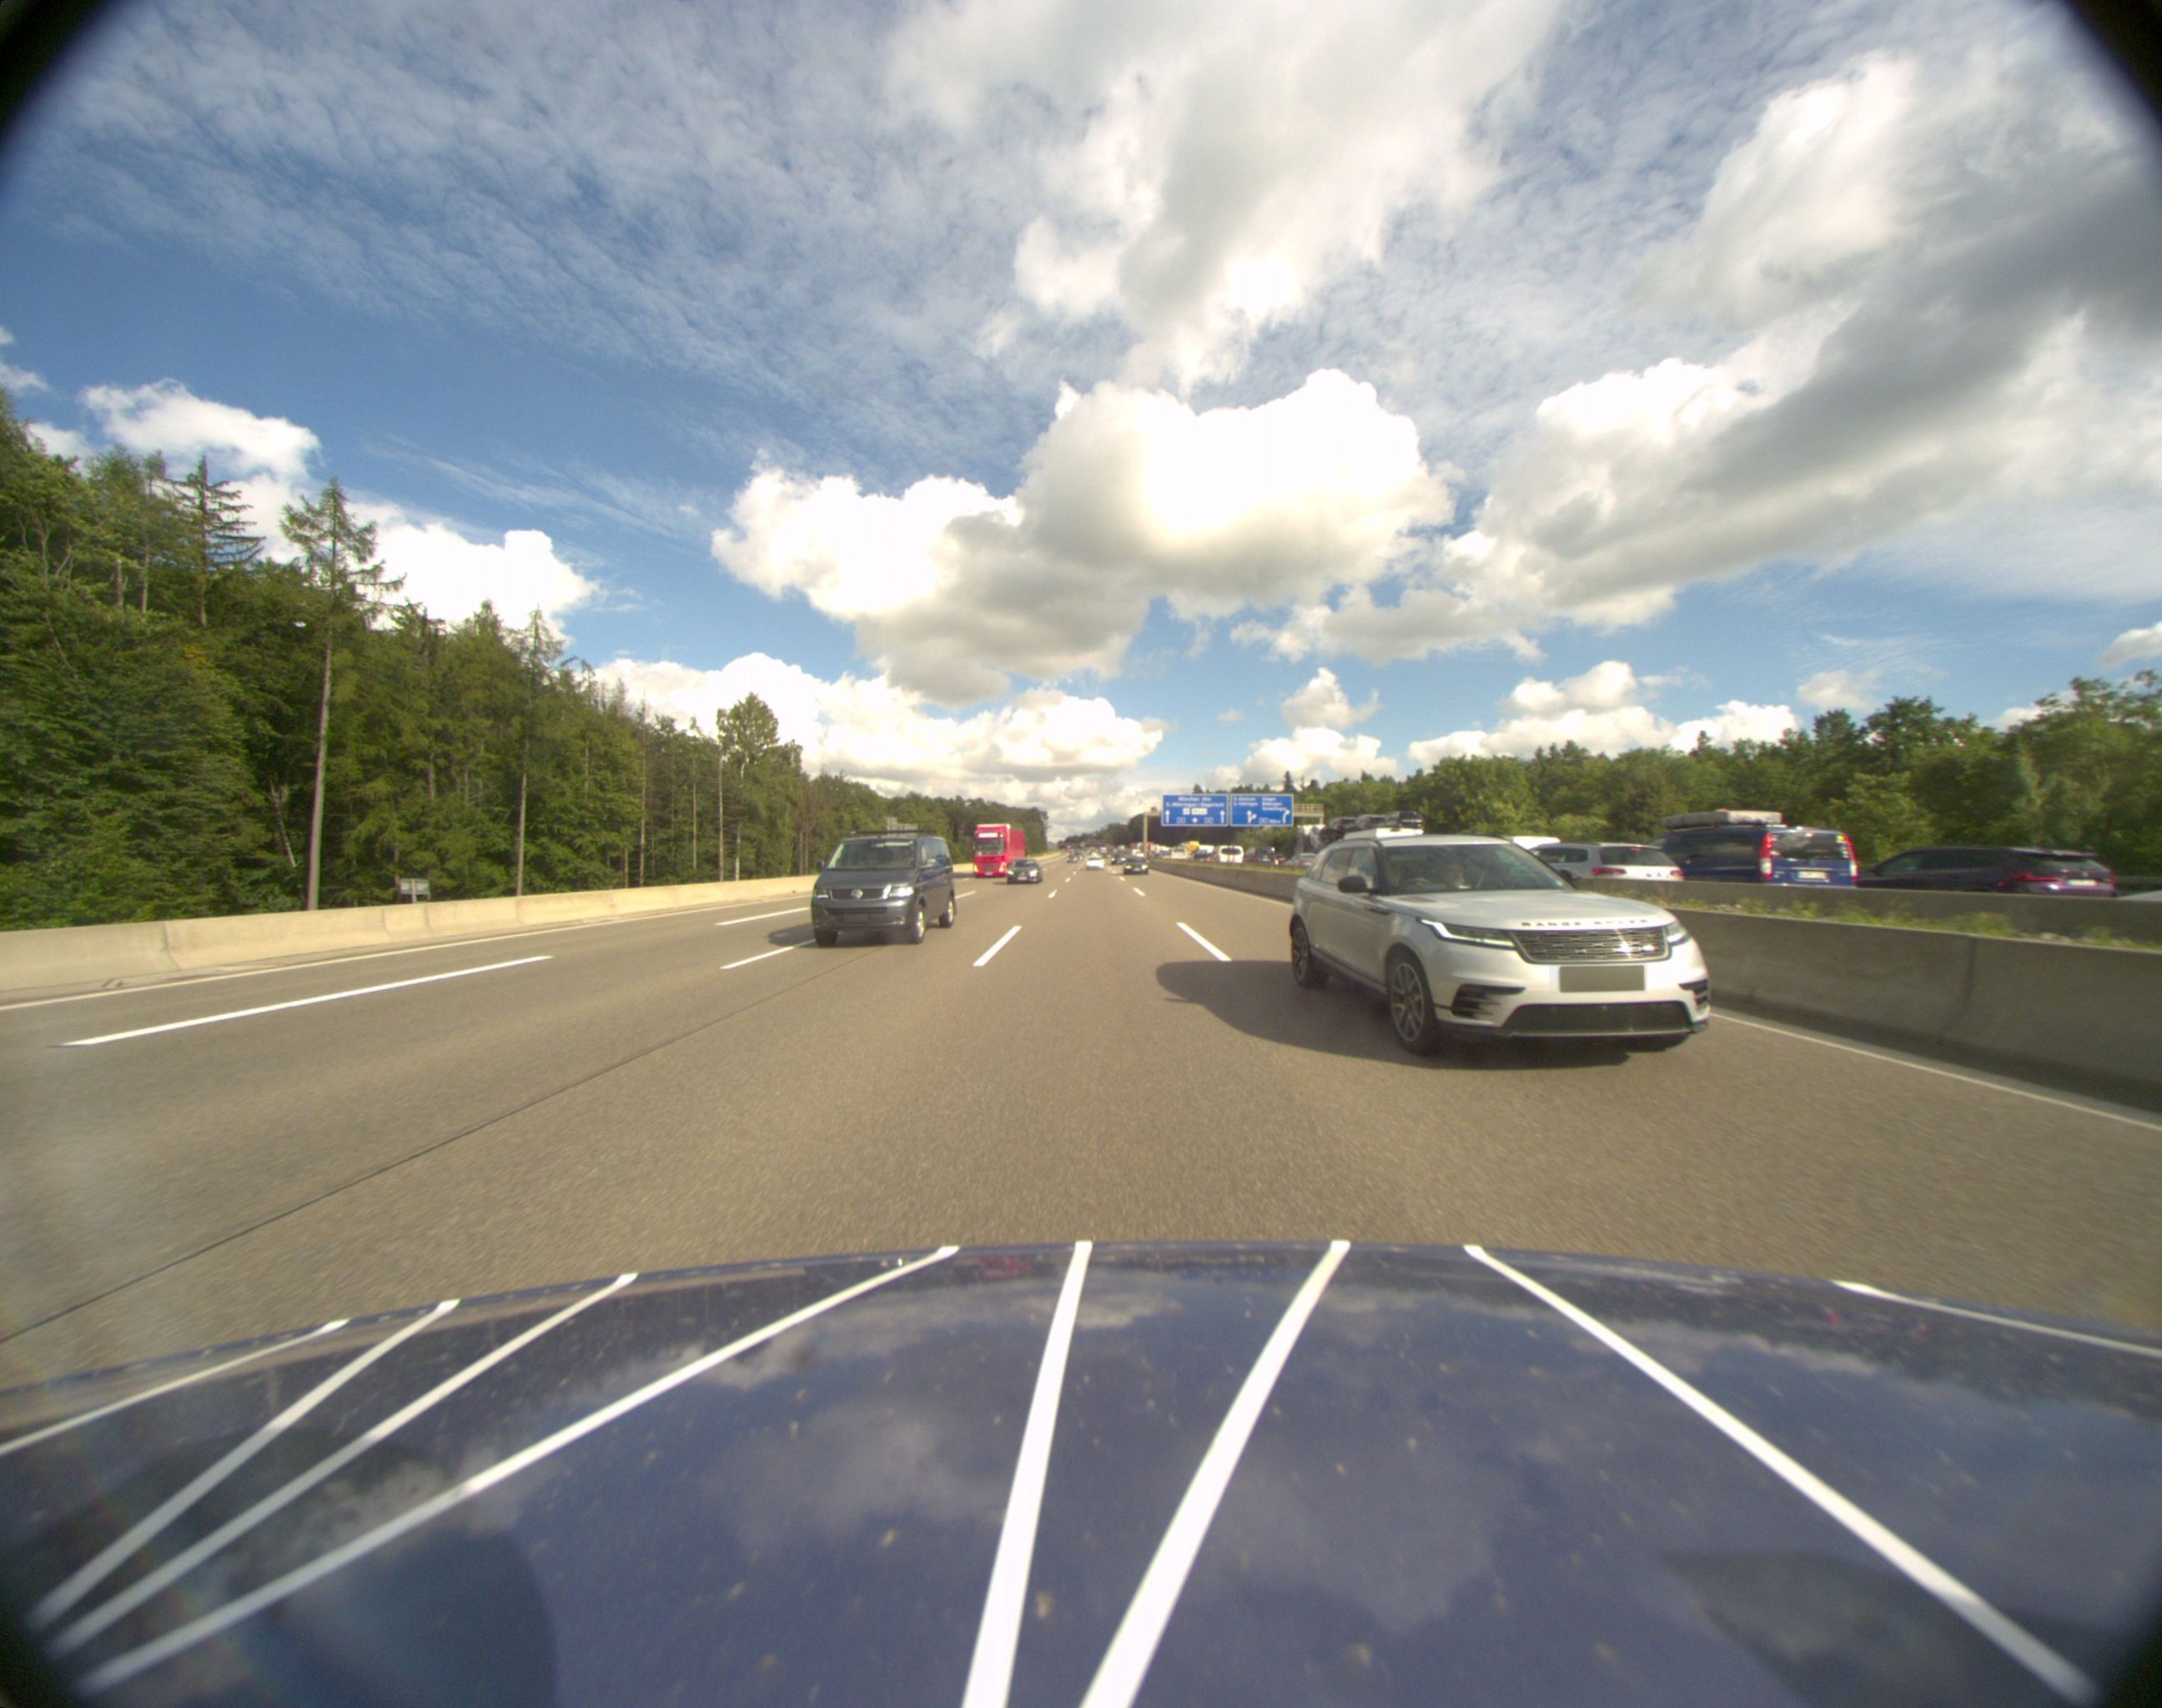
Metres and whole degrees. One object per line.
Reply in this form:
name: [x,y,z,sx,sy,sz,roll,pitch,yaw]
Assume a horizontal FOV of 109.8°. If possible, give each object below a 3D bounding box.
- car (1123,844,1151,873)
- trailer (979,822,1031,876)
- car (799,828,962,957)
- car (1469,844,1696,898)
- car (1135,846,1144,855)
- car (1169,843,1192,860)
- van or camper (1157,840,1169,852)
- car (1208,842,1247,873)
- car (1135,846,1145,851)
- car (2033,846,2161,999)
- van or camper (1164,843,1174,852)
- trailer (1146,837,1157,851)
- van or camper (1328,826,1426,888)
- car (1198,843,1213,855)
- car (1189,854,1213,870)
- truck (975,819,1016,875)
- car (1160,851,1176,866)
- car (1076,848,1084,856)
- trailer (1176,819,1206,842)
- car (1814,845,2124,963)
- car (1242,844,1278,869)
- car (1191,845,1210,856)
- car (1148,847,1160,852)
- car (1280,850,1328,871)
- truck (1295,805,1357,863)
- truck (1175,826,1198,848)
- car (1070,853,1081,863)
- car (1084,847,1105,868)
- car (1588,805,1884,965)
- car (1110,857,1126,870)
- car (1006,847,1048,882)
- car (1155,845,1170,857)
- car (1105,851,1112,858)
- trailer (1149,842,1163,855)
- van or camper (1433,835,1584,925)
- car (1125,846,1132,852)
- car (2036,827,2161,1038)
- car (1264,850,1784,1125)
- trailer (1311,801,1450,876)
car: [4.285,0.353,58.425,1.919,2.001,4.001,-3,-1,2]
trailer: [-6.396,-0.503,66.320,2.531,4.096,14.376,-1,1,2]
car: [-3.767,0.644,15.293,1.927,2.153,4.960,-1,0,0]
car: [9.946,0.286,15.584,1.639,0.853,4.605,-3,0,1]
car: [13.399,-0.907,174.509,1.836,2.050,5.500,0,1,1]
car: [11.491,-0.247,87.916,2.091,1.791,4.179,-3,0,1]
van or camper: [21.909,-2.211,203.150,2.476,2.873,7.479,-2,2,1]
car: [10.784,0.226,56.366,1.998,2.088,5.277,-2,1,2]
car: [12.444,-1.211,160.110,1.647,0.934,4.488,-2,1,1]
car: [14.019,0.866,8.365,1.691,1.805,4.294,-2,1,0]
van or camper: [21.242,-1.582,183.691,2.288,2.000,4.690,-2,1,8]
trailer: [22.804,-3.402,246.681,2.645,4.295,13.174,-2,1,1]
van or camper: [14.424,0.063,37.567,2.397,2.695,6.630,-2,1,2]
car: [19.863,-0.817,121.420,1.804,1.865,3.950,-1,1,1]
car: [10.931,0.714,69.491,1.699,1.364,4.000,-1,0,2]
truck: [-6.599,-0.560,59.153,2.532,4.178,4.652,-1,1,1]
car: [11.852,0.567,103.935,1.804,1.865,3.950,-2,1,1]
car: [-0.289,-0.483,180.840,1.804,1.865,3.950,-1,1,1]
trailer: [19.619,-4.150,136.409,3.420,3.806,13.259,-2,1,1]
car: [17.678,0.873,15.482,1.647,2.002,3.999,-2,2,0]
car: [14.521,0.166,61.906,1.916,1.865,4.697,-1,1,1]
car: [16.212,-0.530,103.311,1.792,1.441,5.375,-2,1,1]
car: [12.847,-0.789,133.993,1.671,0.922,5.463,-2,1,1]
car: [14.729,0.426,50.368,1.836,1.223,4.566,-2,1,1]
truck: [18.877,-1.483,58.963,2.860,4.210,5.712,-2,1,1]
truck: [19.829,-3.148,143.675,3.425,3.877,6.802,-2,0,1]
car: [-0.995,0.739,137.963,1.911,1.582,4.286,-2,1,-1]
car: [1.390,0.380,77.043,1.998,2.002,4.000,-2,0,2]
car: [14.280,0.581,17.171,1.998,2.946,5.402,-3,0,1]
car: [5.064,1.227,104.208,1.911,1.582,4.287,-2,1,1]
car: [-3.124,0.578,44.628,1.998,2.002,4.000,0,0,2]
car: [12.784,-0.431,119.560,1.771,1.788,4.938,-2,1,1]
car: [6.709,0.165,185.968,1.804,1.783,3.758,-1,1,1]
trailer: [22.082,-1.711,223.981,2.895,3.637,10.219,-2,0,0]
van or camper: [14.425,0.732,26.148,2.050,2.696,5.750,-2,2,2]
car: [13.764,-1.535,219.991,1.821,1.754,4.629,-1,1,1]
car: [9.978,0.632,4.986,1.998,1.733,4.295,-3,0,1]
car: [3.278,0.789,7.114,1.905,1.597,5.105,-1,0,0]
trailer: [18.682,-1.048,49.227,2.837,3.952,16.001,-2,1,1]
